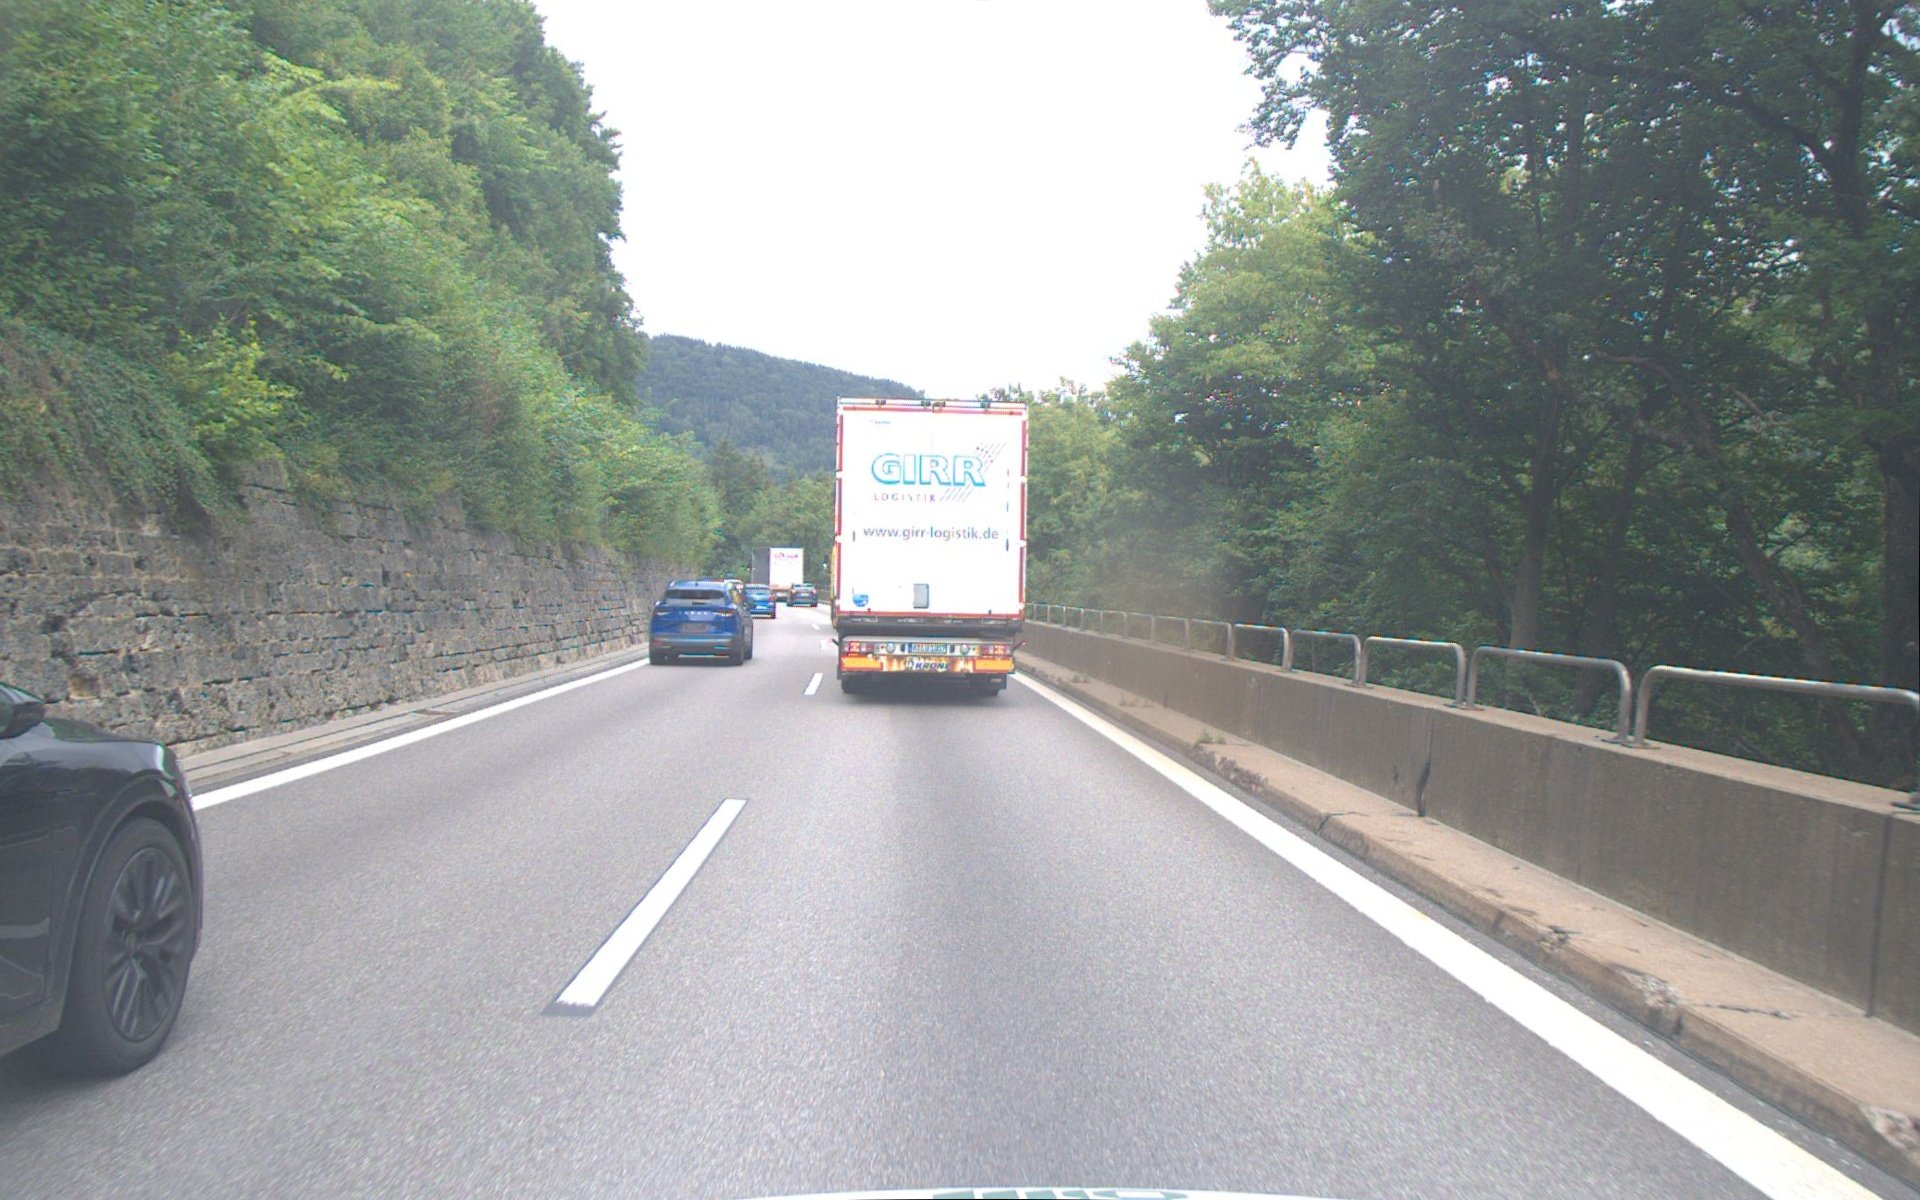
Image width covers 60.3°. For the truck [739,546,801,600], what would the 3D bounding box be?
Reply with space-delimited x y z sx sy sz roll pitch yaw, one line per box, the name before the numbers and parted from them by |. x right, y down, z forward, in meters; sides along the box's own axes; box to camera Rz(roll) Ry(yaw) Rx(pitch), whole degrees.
truck | -14.636 -1.996 126.542 2.592 3.925 12.301 0 0 -17

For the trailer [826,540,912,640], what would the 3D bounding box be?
trailer | -3.313 -0.328 57.738 2.170 3.101 11.121 1 0 -7

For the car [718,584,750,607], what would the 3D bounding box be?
car | -16.127 -0.329 117.838 1.864 1.577 4.236 2 0 -13

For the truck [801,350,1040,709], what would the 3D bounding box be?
truck | -0.848 -0.947 28.633 3.023 4.542 15.147 0 0 -3

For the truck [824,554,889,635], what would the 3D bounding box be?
truck | -4.017 -0.206 63.398 2.167 2.901 4.996 1 0 -7

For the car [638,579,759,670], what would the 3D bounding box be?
car | -5.205 0.430 33.513 1.954 1.660 5.005 1 1 -4

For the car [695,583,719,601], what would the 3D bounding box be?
car | -24.139 -0.769 157.762 1.865 1.577 4.233 2 0 -14

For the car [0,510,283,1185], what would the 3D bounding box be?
car | -3.306 0.605 3.375 1.953 1.660 5.006 0 0 -2

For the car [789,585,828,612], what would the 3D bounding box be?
car | -9.678 -0.082 105.331 2.024 1.683 3.988 0 0 -12

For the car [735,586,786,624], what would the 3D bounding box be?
car | -9.008 0.209 74.364 1.958 1.624 4.342 1 0 -11
